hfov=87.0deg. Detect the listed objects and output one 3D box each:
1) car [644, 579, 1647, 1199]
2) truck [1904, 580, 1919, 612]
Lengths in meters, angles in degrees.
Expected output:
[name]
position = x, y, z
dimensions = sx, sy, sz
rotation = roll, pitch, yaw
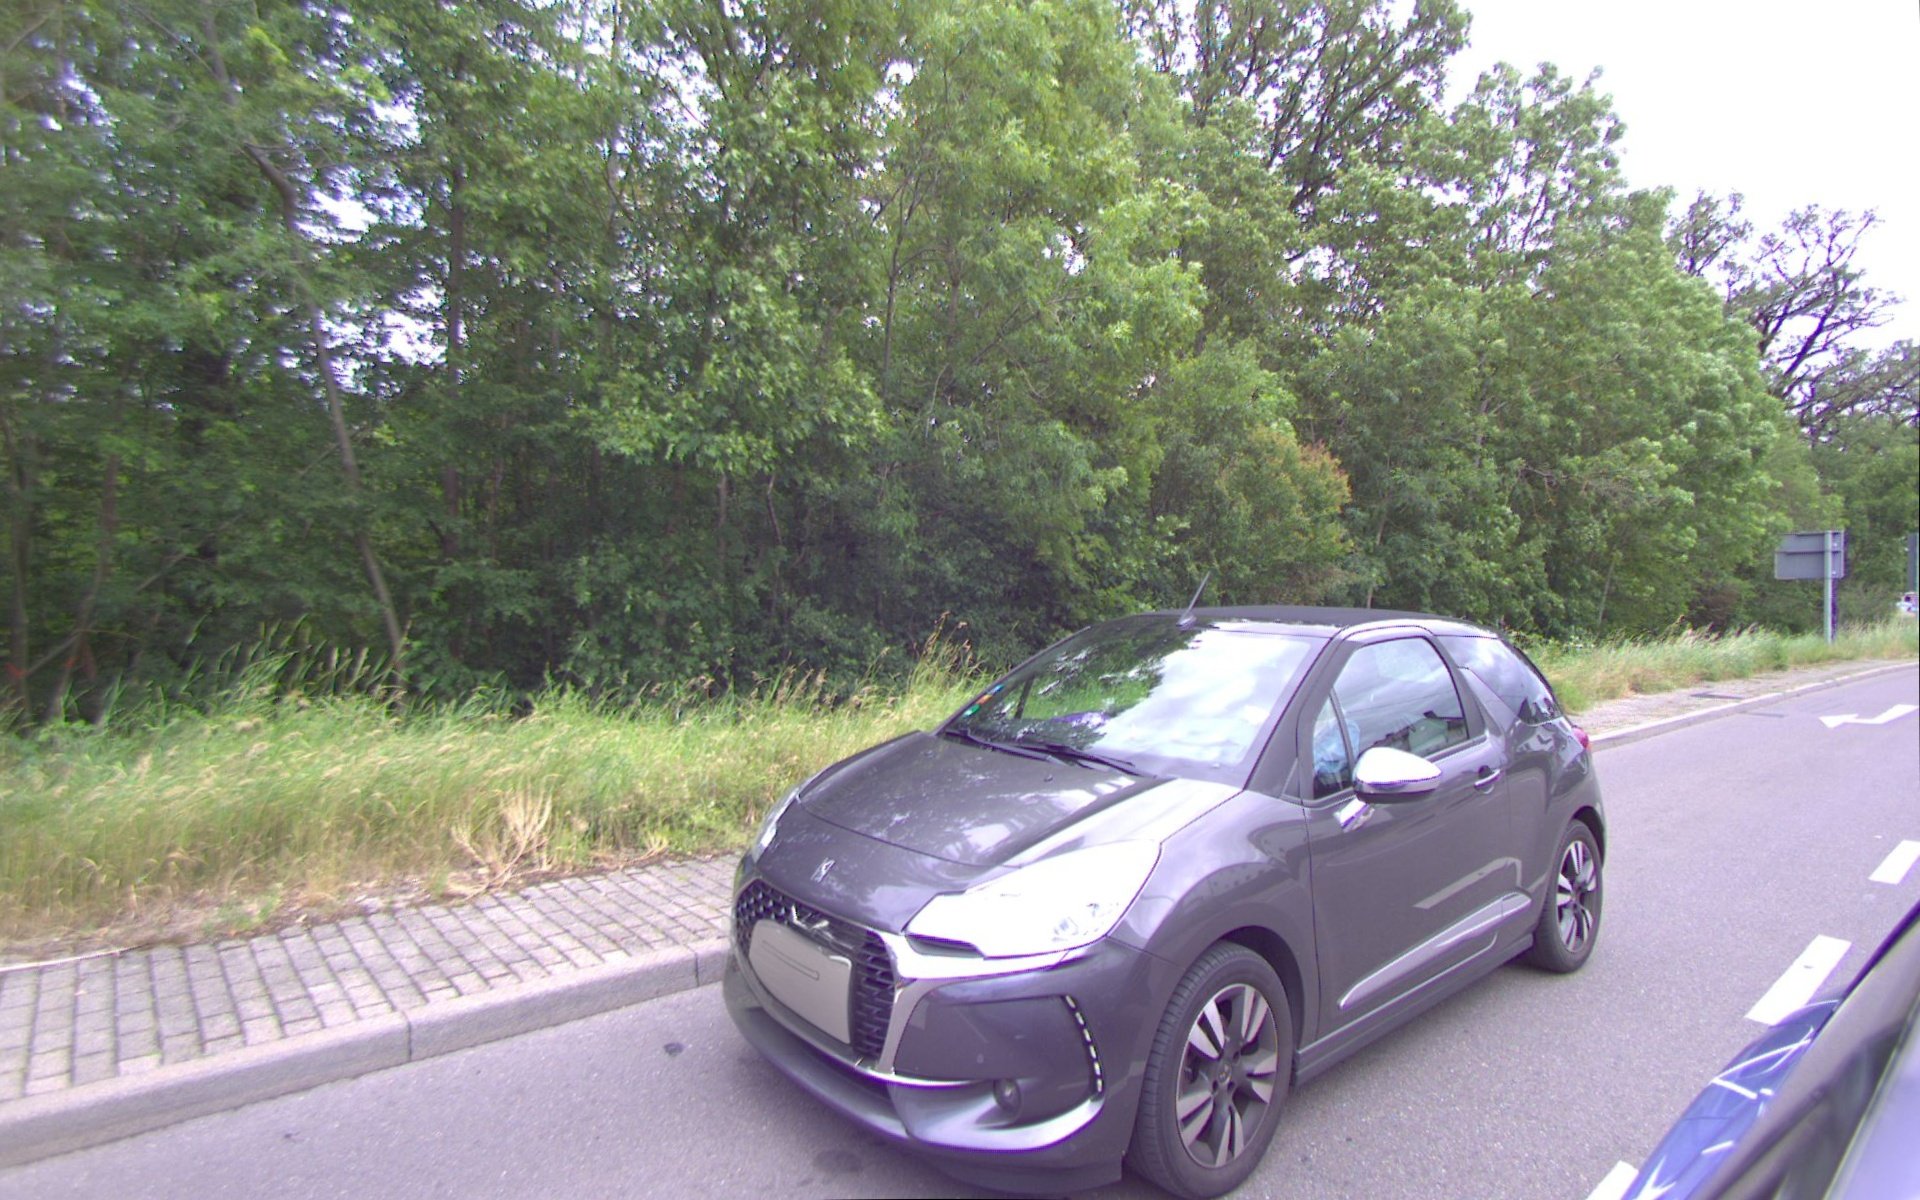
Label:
[car]
position = 0.972, 0.691, 3.834
dimensions = 3.786, 1.476, 1.729
rotation = 0, 0, -40
[truck]
position = 112.539, -0.490, 118.129
dimensions = 2.995, 3.685, 6.985
rotation = 1, 1, 40
